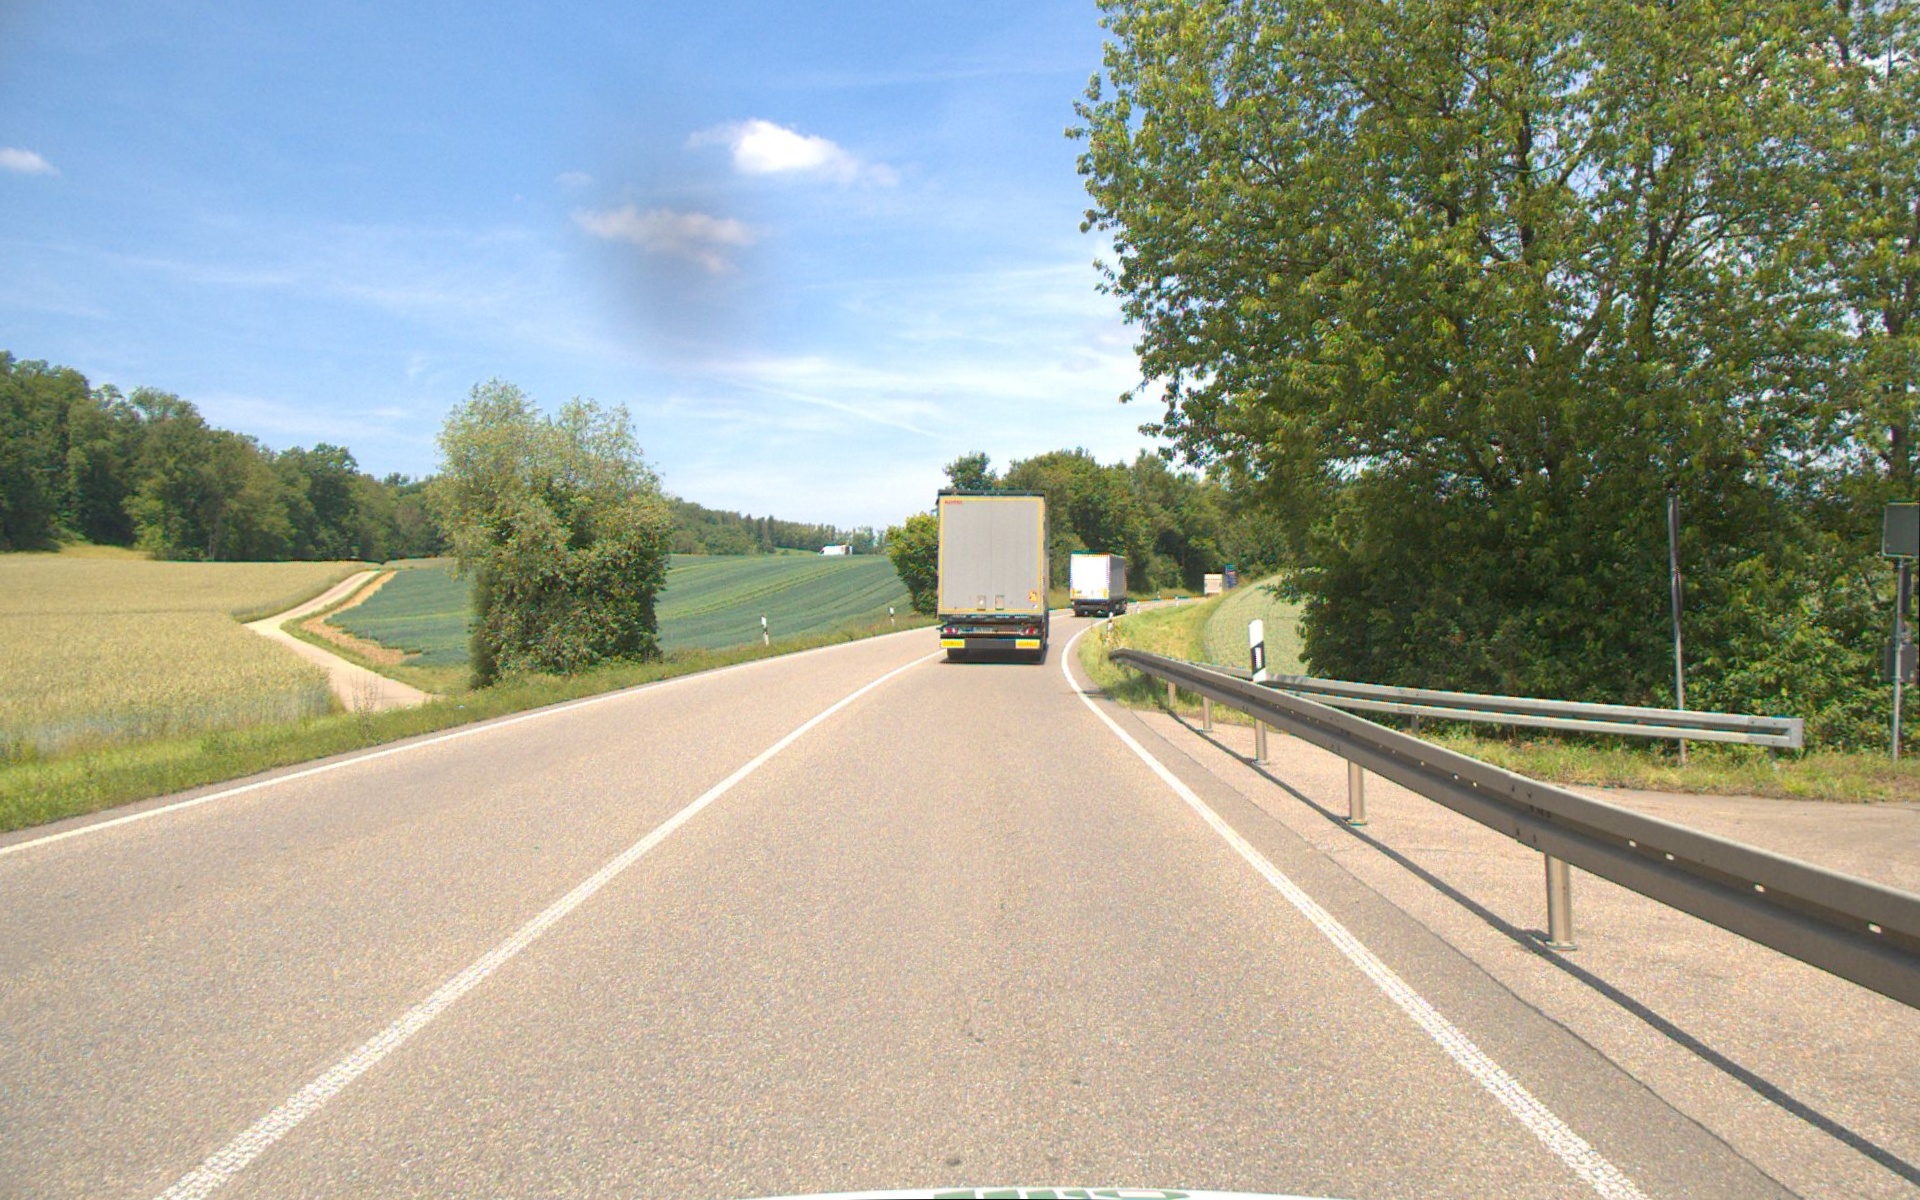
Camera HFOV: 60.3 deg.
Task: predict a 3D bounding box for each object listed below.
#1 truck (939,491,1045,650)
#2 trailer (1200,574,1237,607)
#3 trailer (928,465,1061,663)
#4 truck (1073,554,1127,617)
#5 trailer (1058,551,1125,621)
[{"bbox_3d":[0.962,-0.845,51.015,3.054,4.573,6.811,0,0,1],"label":"truck"},{"bbox_3d":[30.848,-1.070,196.946,2.763,3.367,11.522,-1,-2,17],"label":"trailer"},{"bbox_3d":[0.885,-0.844,45.136,3.054,4.578,13.887,0,0,1],"label":"trailer"},{"bbox_3d":[10.071,-1.056,118.240,3.293,4.392,6.747,0,1,9],"label":"truck"},{"bbox_3d":[9.021,-0.927,111.833,3.293,4.392,13.877,0,0,9],"label":"trailer"}]
